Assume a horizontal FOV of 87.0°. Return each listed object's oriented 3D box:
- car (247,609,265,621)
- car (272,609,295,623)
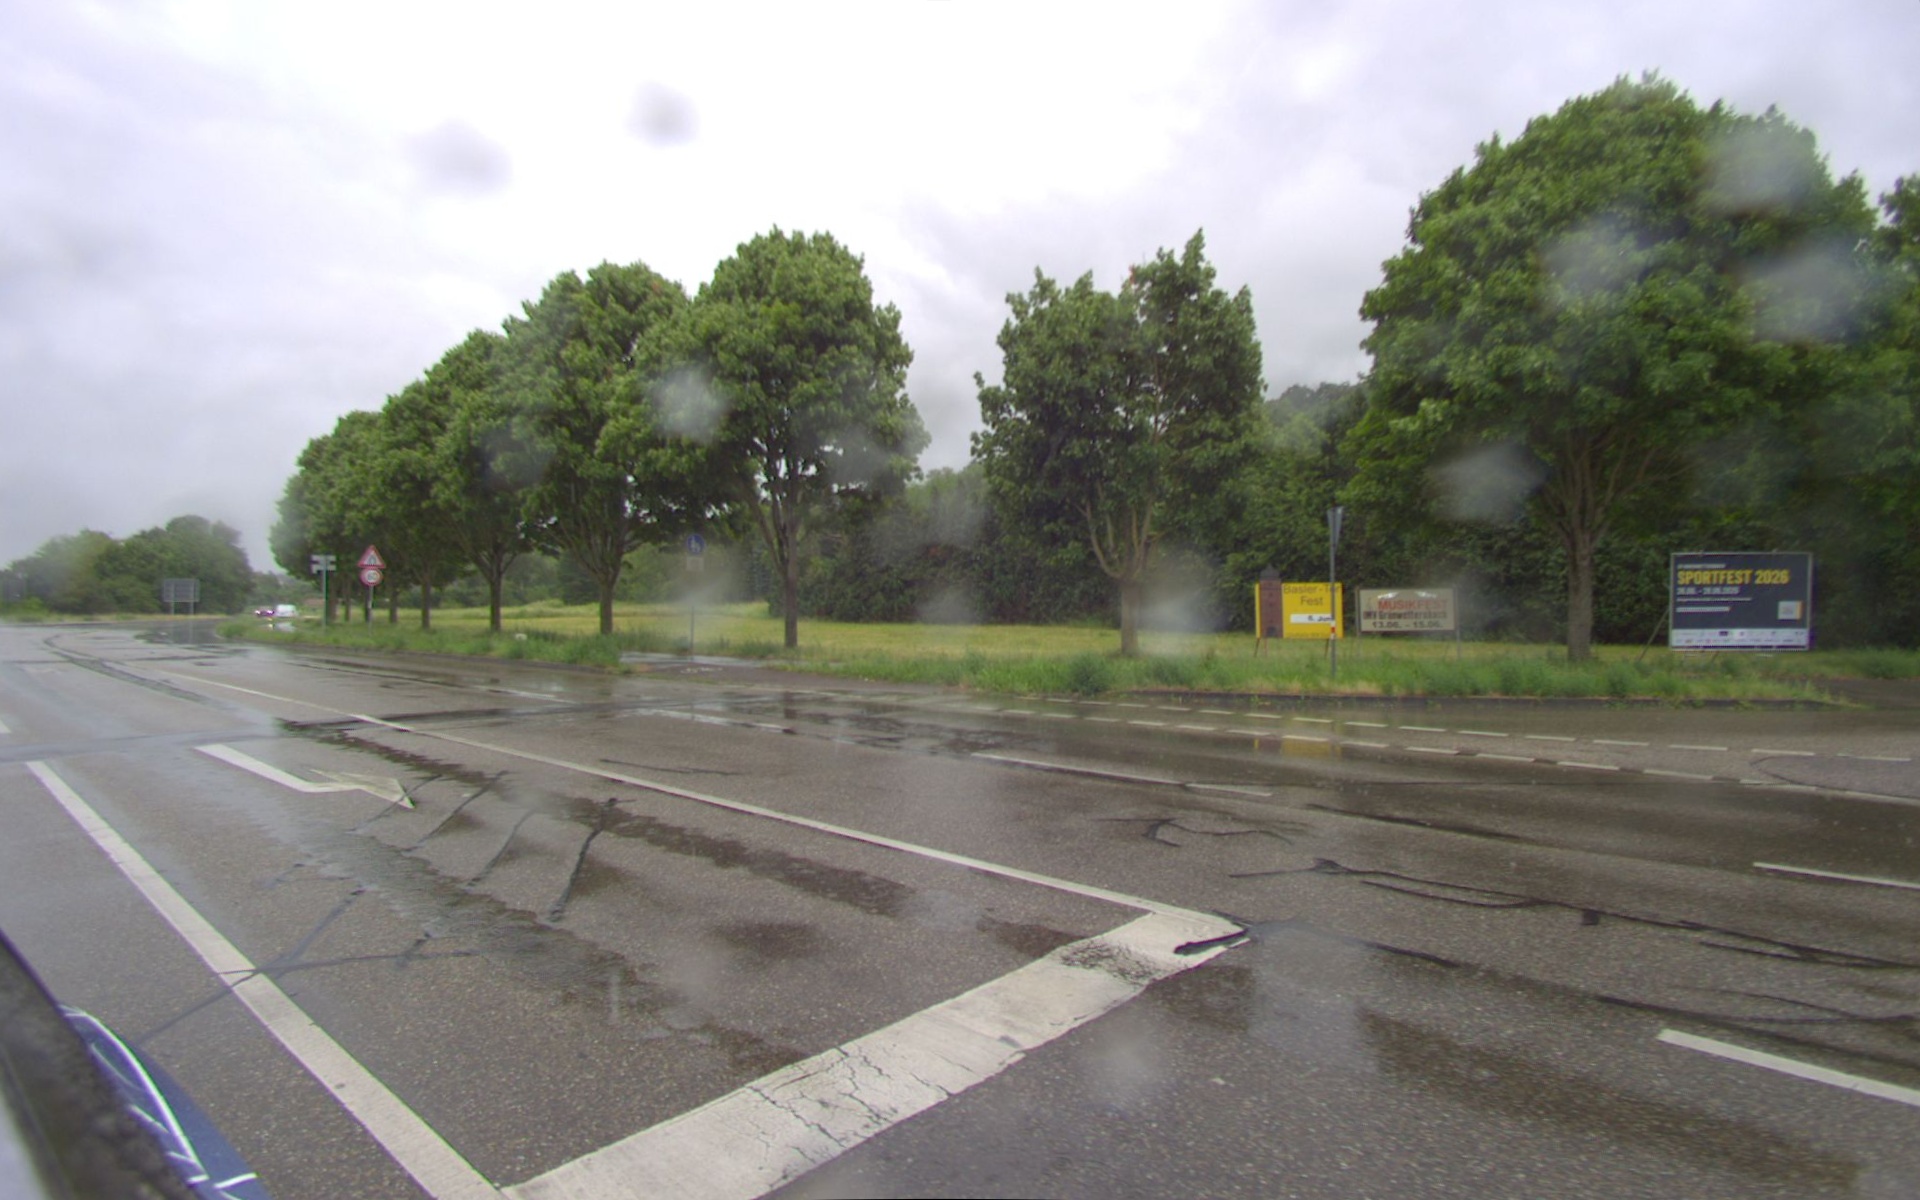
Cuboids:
[{"bbox_3d":[-103.564,2.184,148.919,1.885,1.701,4.115,0,0,-31],"label":"car"},{"bbox_3d":[-91.267,2.139,136.544,2.077,1.907,4.806,0,0,-27],"label":"car"}]
